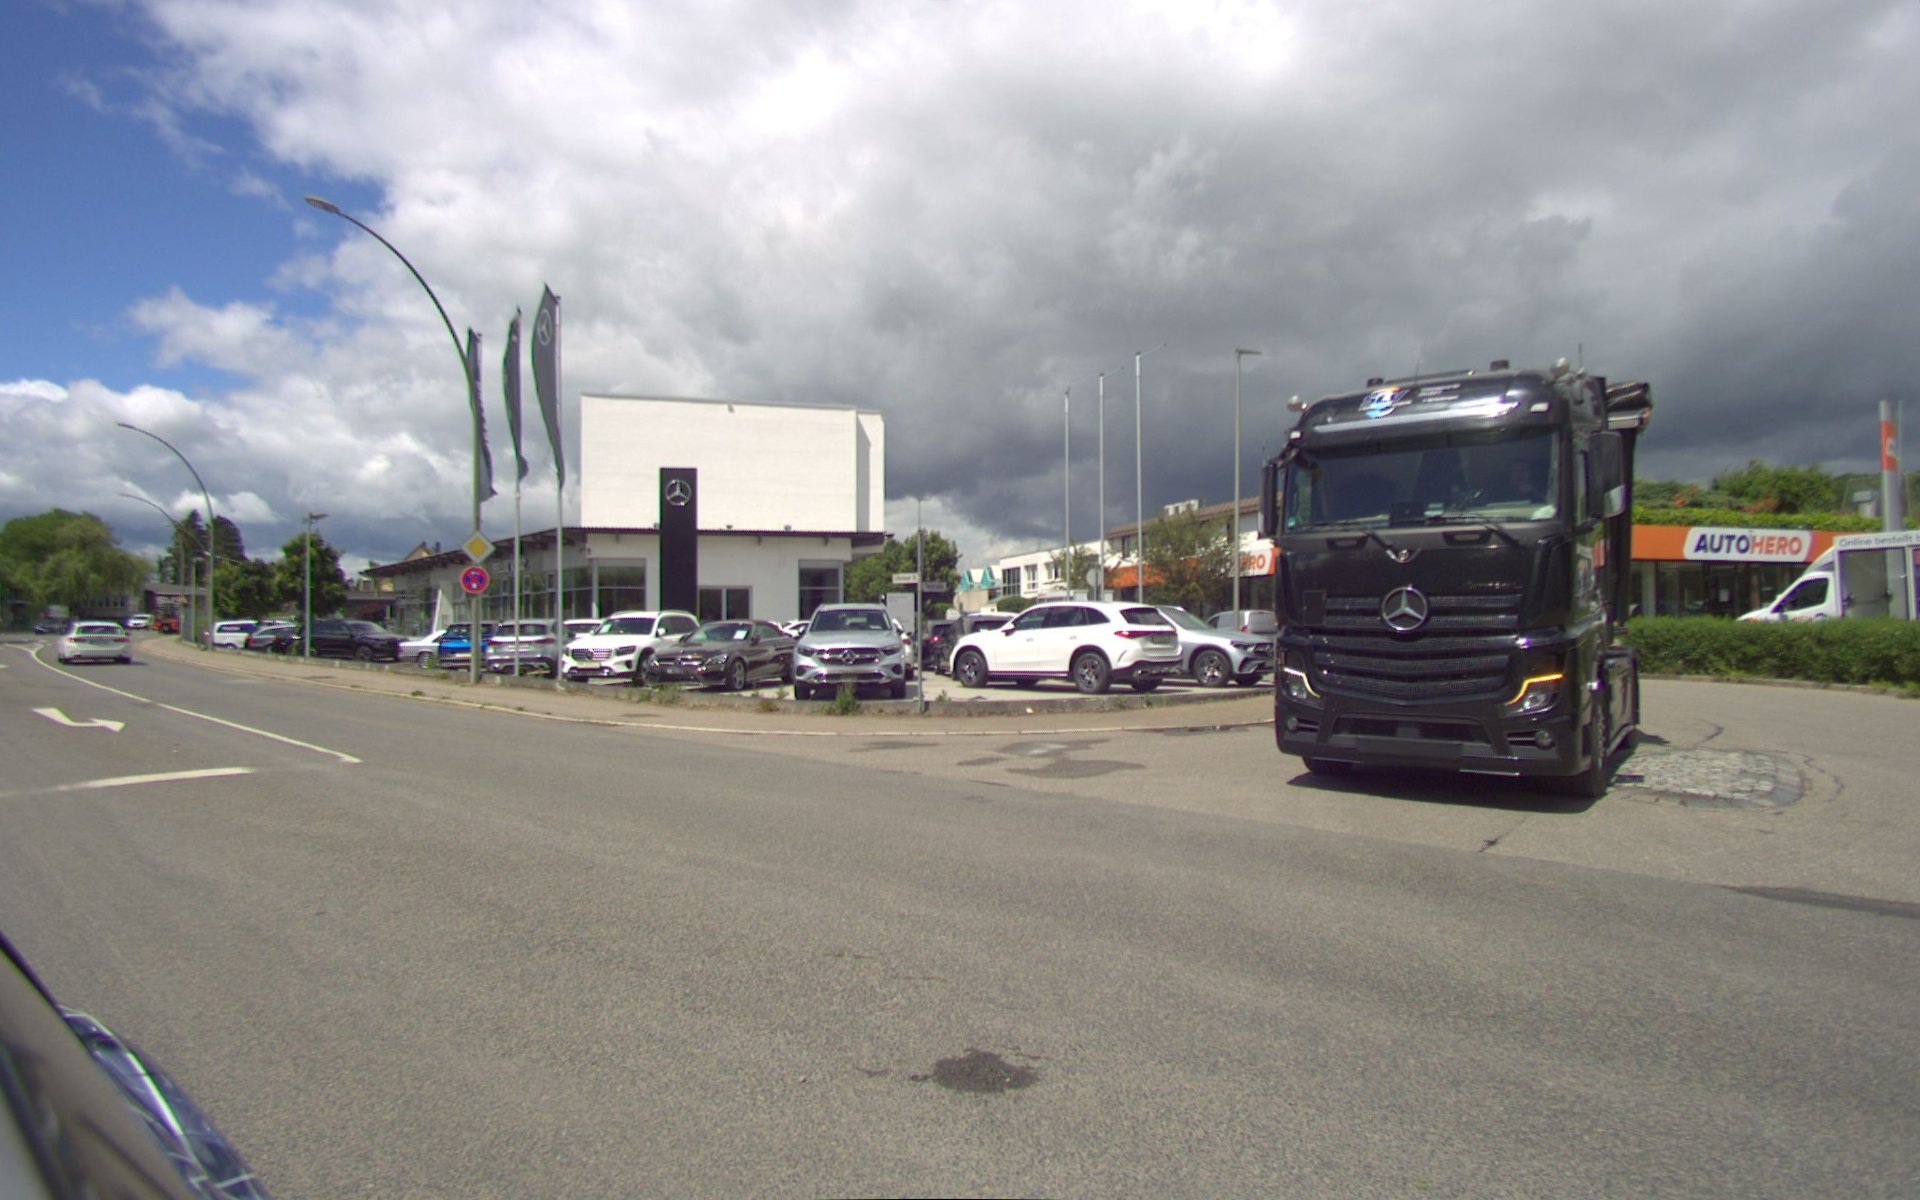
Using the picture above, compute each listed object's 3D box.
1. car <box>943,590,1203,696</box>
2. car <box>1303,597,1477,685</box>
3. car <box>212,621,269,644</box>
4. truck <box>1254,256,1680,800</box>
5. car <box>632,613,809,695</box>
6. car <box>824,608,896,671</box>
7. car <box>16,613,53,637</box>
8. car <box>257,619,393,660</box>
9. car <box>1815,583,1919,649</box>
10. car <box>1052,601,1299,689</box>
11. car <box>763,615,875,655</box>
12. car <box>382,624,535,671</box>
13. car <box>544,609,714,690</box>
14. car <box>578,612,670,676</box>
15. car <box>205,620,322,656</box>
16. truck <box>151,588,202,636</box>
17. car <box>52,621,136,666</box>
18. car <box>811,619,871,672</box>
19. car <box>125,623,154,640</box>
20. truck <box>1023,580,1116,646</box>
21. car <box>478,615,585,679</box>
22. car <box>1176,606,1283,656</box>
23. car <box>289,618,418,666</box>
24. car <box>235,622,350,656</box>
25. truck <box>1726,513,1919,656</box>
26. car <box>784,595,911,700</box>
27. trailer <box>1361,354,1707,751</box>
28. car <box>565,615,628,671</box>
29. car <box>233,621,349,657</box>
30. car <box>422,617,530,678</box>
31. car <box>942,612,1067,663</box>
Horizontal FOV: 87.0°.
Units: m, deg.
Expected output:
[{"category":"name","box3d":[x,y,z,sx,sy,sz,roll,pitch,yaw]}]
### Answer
[{"category":"car","box3d":[2.000,0.758,18.928,4.600,1.734,1.910,-1,-2,43]},{"category":"car","box3d":[10.016,0.934,23.963,1.927,1.890,4.124,0,-1,-8]},{"category":"car","box3d":[-51.309,2.346,72.184,3.213,1.586,1.586,2,-2,-36]},{"category":"truck","box3d":[5.413,-0.452,10.267,2.979,3.853,5.504,-1,-2,36]},{"category":"car","box3d":[-4.787,1.048,20.916,1.779,1.477,4.310,-2,-2,13]},{"category":"car","box3d":[-2.847,1.092,29.049,1.839,1.629,4.439,-2,-1,-5]},{"category":"car","box3d":[-79.461,2.177,86.911,1.924,2.029,4.008,1,-2,-37]},{"category":"car","box3d":[-27.289,1.685,43.659,4.560,1.637,2.067,-1,-2,-11]},{"category":"car","box3d":[28.027,0.460,29.294,1.801,1.860,4.689,0,-1,-20]},{"category":"car","box3d":[4.323,0.899,20.839,4.764,1.614,1.778,-1,-3,43]},{"category":"car","box3d":[-6.083,1.478,43.475,4.506,1.602,1.933,0,0,-16]},{"category":"car","box3d":[-17.709,1.664,35.859,4.537,1.400,1.803,-2,1,3]},{"category":"car","box3d":[-7.463,1.074,23.330,1.916,1.690,4.284,-1,-1,11]},{"category":"car","box3d":[-9.201,1.177,28.033,1.843,1.578,4.531,-1,-2,-11]},{"category":"car","box3d":[-37.896,2.080,55.178,4.879,1.852,1.896,1,-2,-9]},{"category":"truck","box3d":[-79.056,1.264,102.229,2.932,4.697,8.203,1,-1,-30]},{"category":"car","box3d":[-30.144,1.498,35.179,1.970,1.461,4.430,3,-3,-43]},{"category":"car","box3d":[-4.059,1.486,34.064,1.775,1.637,3.962,-1,-2,-9]},{"category":"car","box3d":[-95.641,3.665,118.014,1.922,2.029,4.013,1,-2,-28]},{"category":"truck","box3d":[5.960,0.771,56.730,2.405,3.449,7.843,0,-1,-16]},{"category":"car","box3d":[-11.782,1.275,28.122,1.843,1.578,4.531,-1,-2,-11]},{"category":"car","box3d":[10.758,1.227,40.794,1.801,1.860,4.689,0,-1,-20]},{"category":"car","box3d":[-23.228,1.599,38.784,4.315,1.637,1.794,-2,1,17]},{"category":"car","box3d":[-30.073,1.759,45.689,3.894,1.505,1.806,0,-2,-6]},{"category":"truck","box3d":[22.007,-0.335,21.681,2.618,3.072,8.618,1,-2,-26]},{"category":"car","box3d":[-1.938,0.778,18.257,1.958,1.617,4.747,-1,-1,-4]},{"category":"trailer","box3d":[8.223,-0.393,15.447,3.301,4.114,9.385,0,-1,25]},{"category":"car","box3d":[-11.587,1.360,32.445,1.773,1.637,3.967,-1,-2,-18]},{"category":"car","box3d":[-32.945,1.943,49.984,4.434,1.637,1.808,-1,-2,-12]},{"category":"car","box3d":[-14.645,1.380,30.897,1.863,1.681,4.581,-1,-1,-11]},{"category":"car","box3d":[1.522,1.232,33.583,3.956,1.641,1.841,0,-2,10]}]
